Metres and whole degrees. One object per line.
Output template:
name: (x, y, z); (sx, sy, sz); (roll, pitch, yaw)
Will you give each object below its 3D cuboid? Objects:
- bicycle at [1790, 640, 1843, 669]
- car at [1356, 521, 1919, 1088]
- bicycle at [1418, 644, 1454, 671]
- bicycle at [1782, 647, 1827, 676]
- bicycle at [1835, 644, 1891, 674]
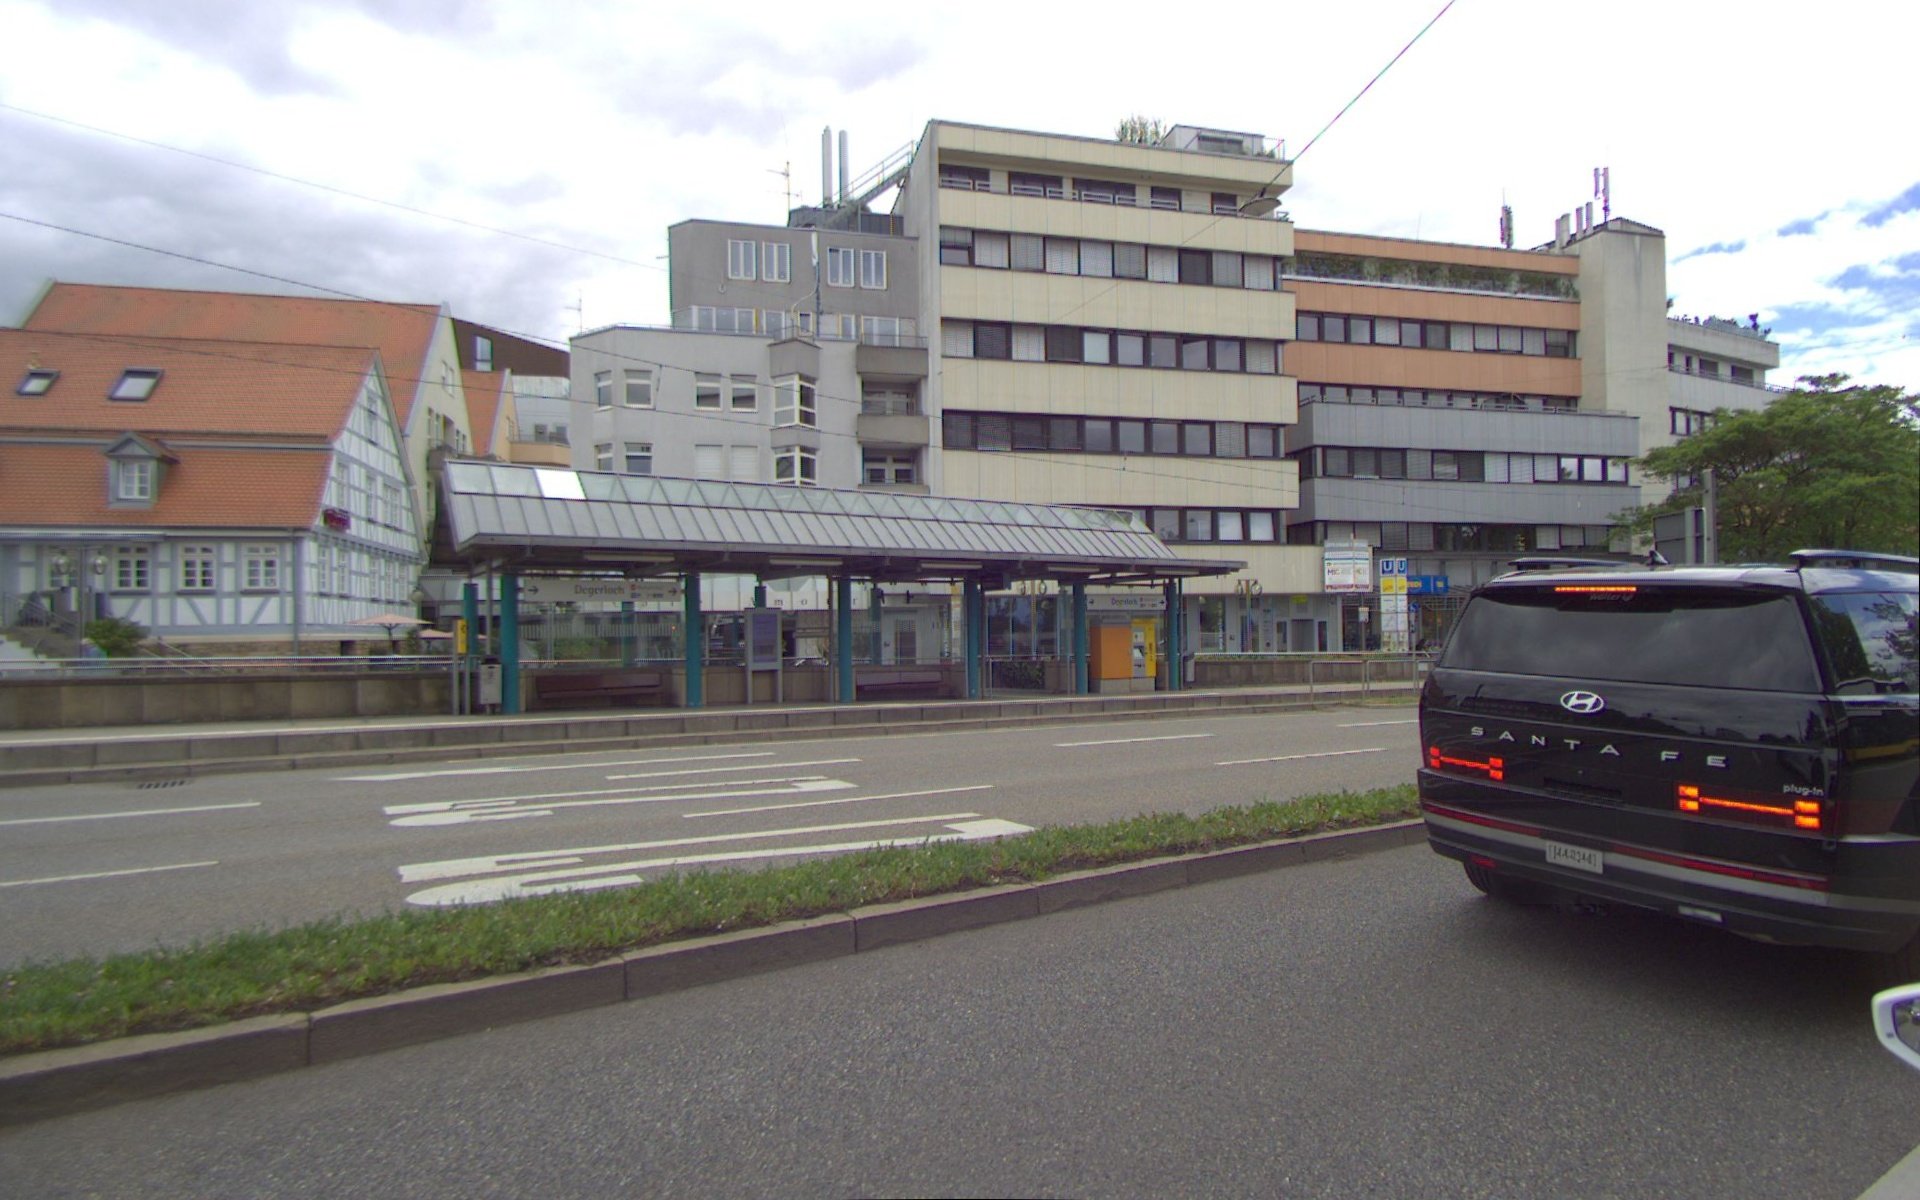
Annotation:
bicycle: (37.848, 2.428, 44.410); (1.649, 1.270, 0.627); (-1, -3, 11)
car: (4.347, 0.703, 5.199); (4.626, 1.774, 1.912); (2, -1, -32)
bicycle: (24.008, 2.905, 50.715); (0.692, 1.336, 1.973); (0, -3, -5)
bicycle: (37.324, 2.711, 44.399); (1.441, 1.270, 0.432); (-1, -3, 14)
bicycle: (38.876, 2.542, 43.248); (1.649, 1.270, 0.627); (-1, -3, 11)
